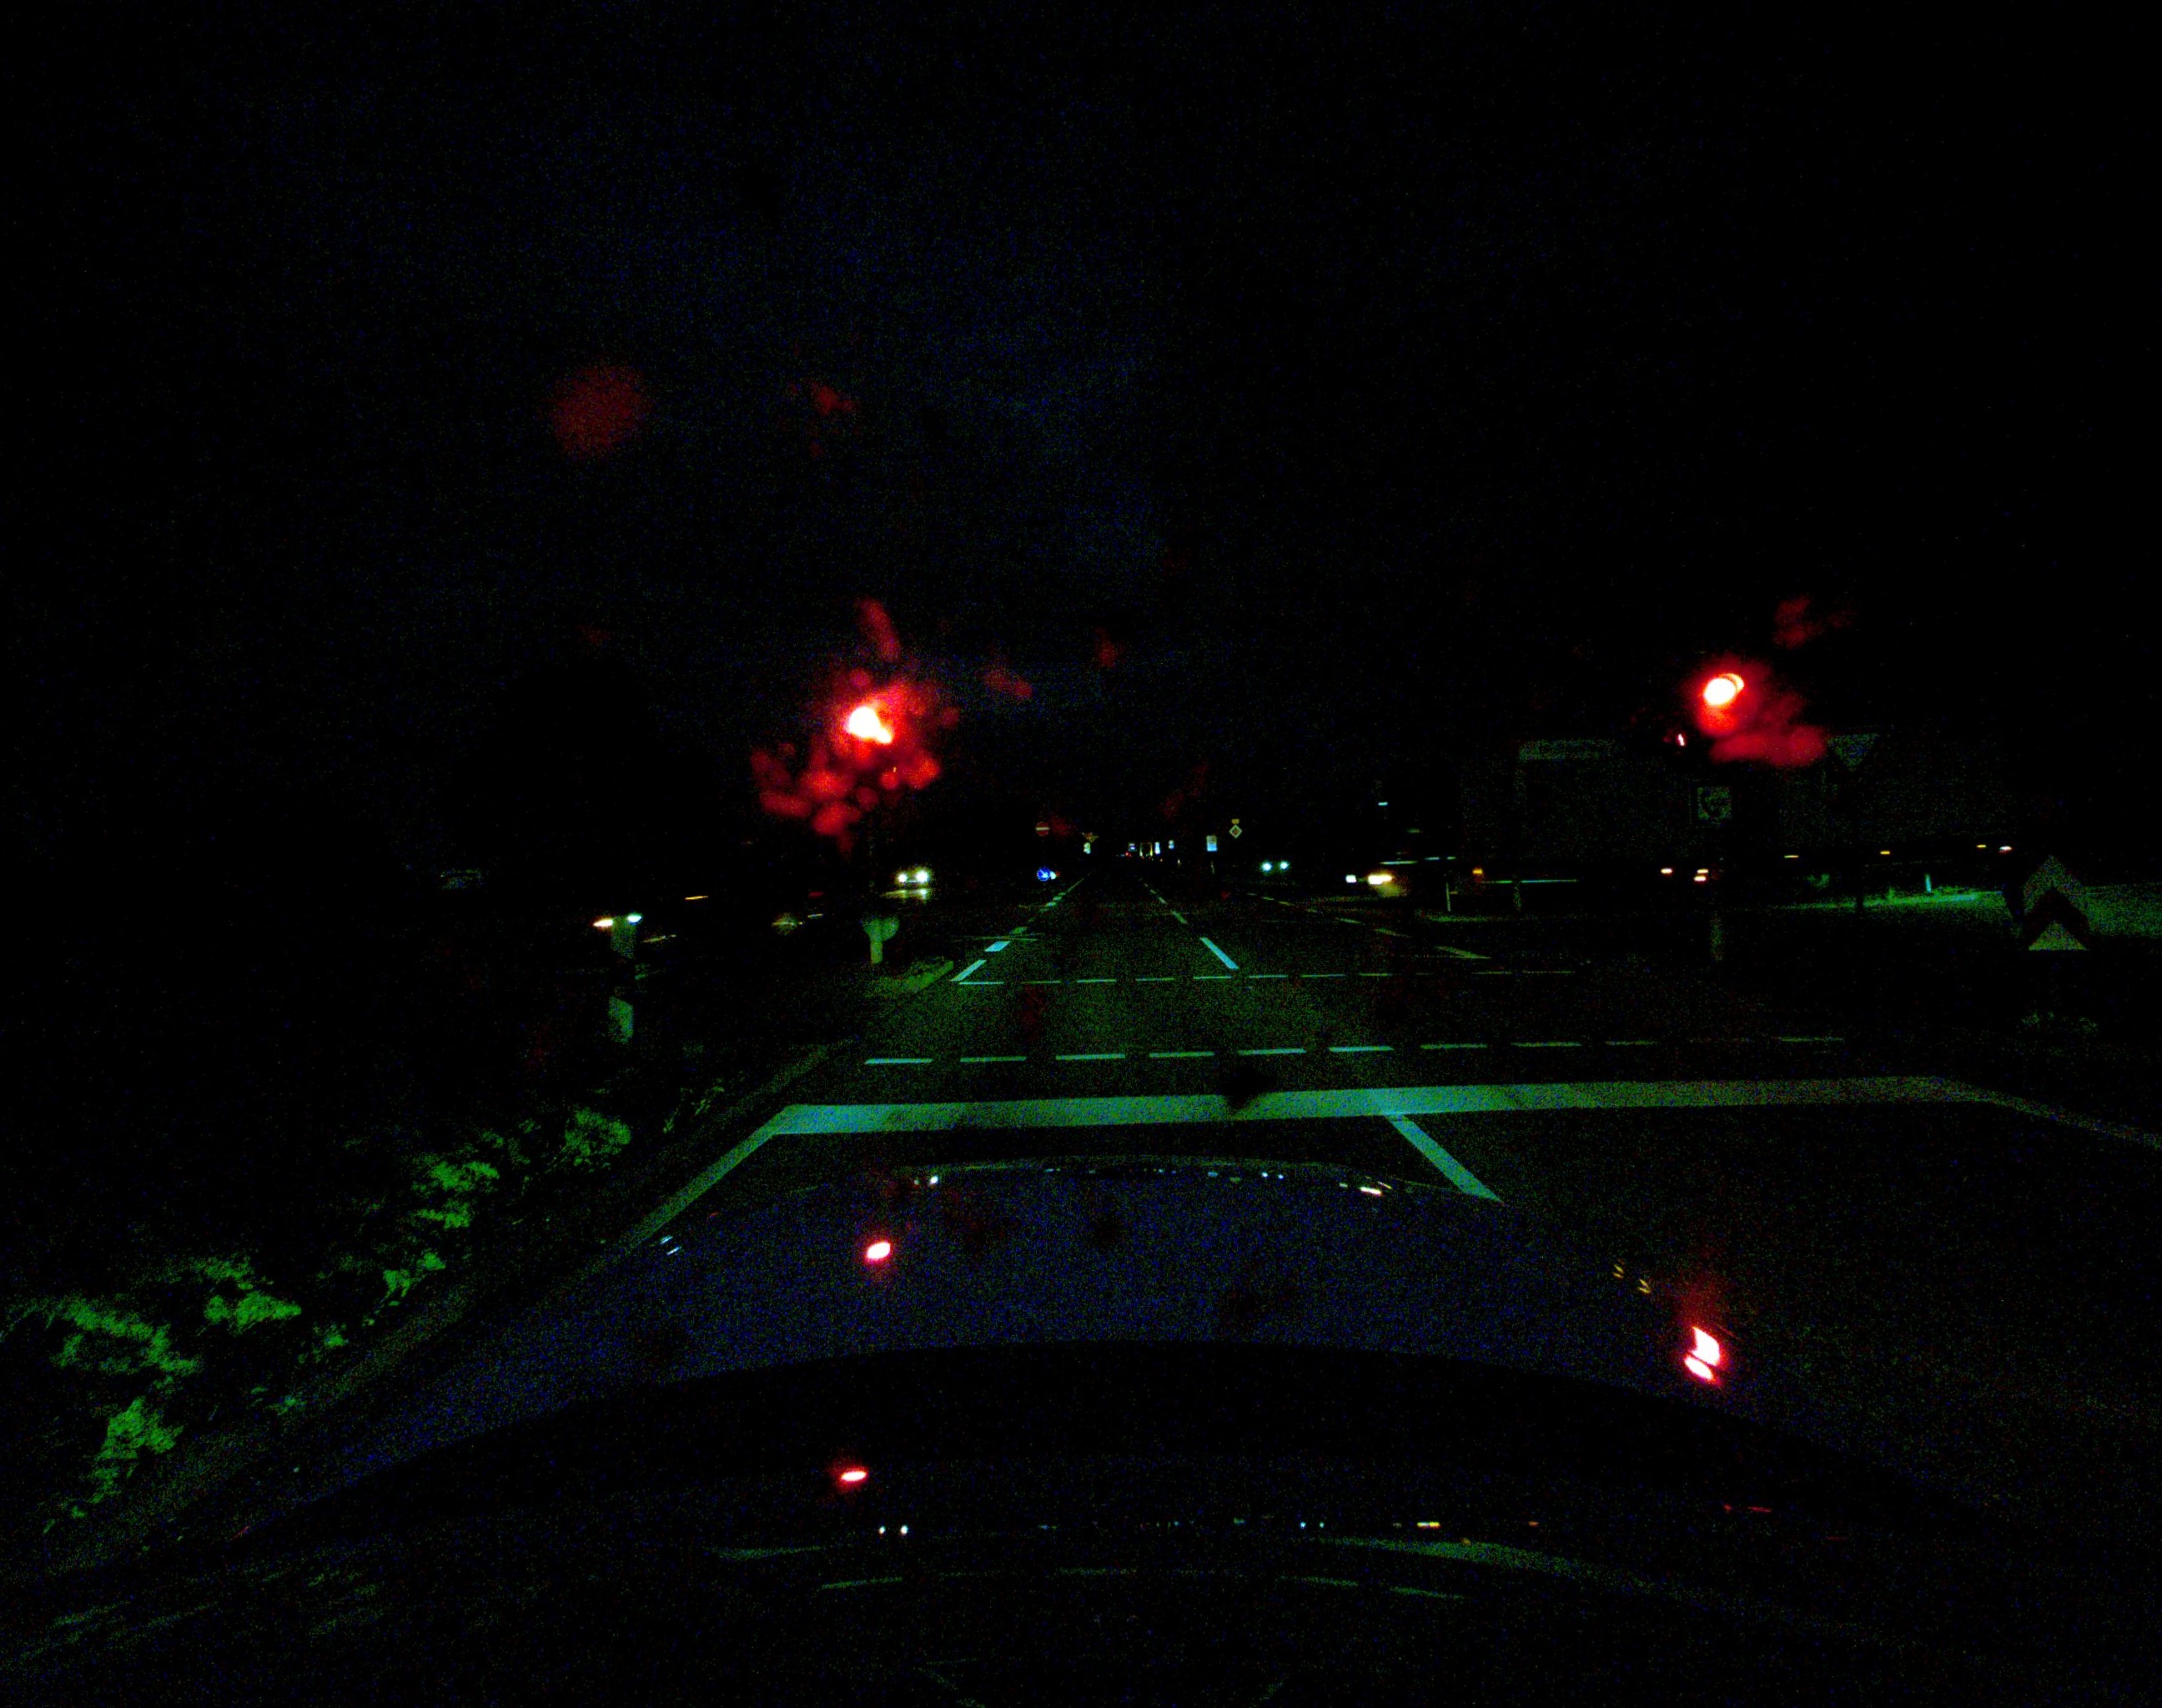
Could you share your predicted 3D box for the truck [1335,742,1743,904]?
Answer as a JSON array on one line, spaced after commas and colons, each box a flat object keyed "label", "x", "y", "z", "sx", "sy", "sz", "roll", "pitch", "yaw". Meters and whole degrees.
[{"label": "truck", "x": 12.764, "y": -0.848, "z": 23.283, "sx": 10.012, "sy": 3.979, "sz": 2.923, "roll": -2, "pitch": 0, "yaw": -2}]

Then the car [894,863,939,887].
[{"label": "car", "x": -10.765, "y": 1.344, "z": 53.490, "sx": 1.986, "sy": 1.387, "sz": 4.002, "roll": -2, "pitch": 0, "yaw": 2}]

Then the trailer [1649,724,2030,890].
[{"label": "trailer", "x": 22.099, "y": -1.354, "z": 23.966, "sx": 9.032, "sy": 4.302, "sz": 2.919, "roll": -2, "pitch": 0, "yaw": -6}]

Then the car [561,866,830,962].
[{"label": "car", "x": -7.914, "y": 1.138, "z": 17.068, "sx": 1.974, "sy": 1.520, "sz": 4.644, "roll": -3, "pitch": 0, "yaw": 43}]
